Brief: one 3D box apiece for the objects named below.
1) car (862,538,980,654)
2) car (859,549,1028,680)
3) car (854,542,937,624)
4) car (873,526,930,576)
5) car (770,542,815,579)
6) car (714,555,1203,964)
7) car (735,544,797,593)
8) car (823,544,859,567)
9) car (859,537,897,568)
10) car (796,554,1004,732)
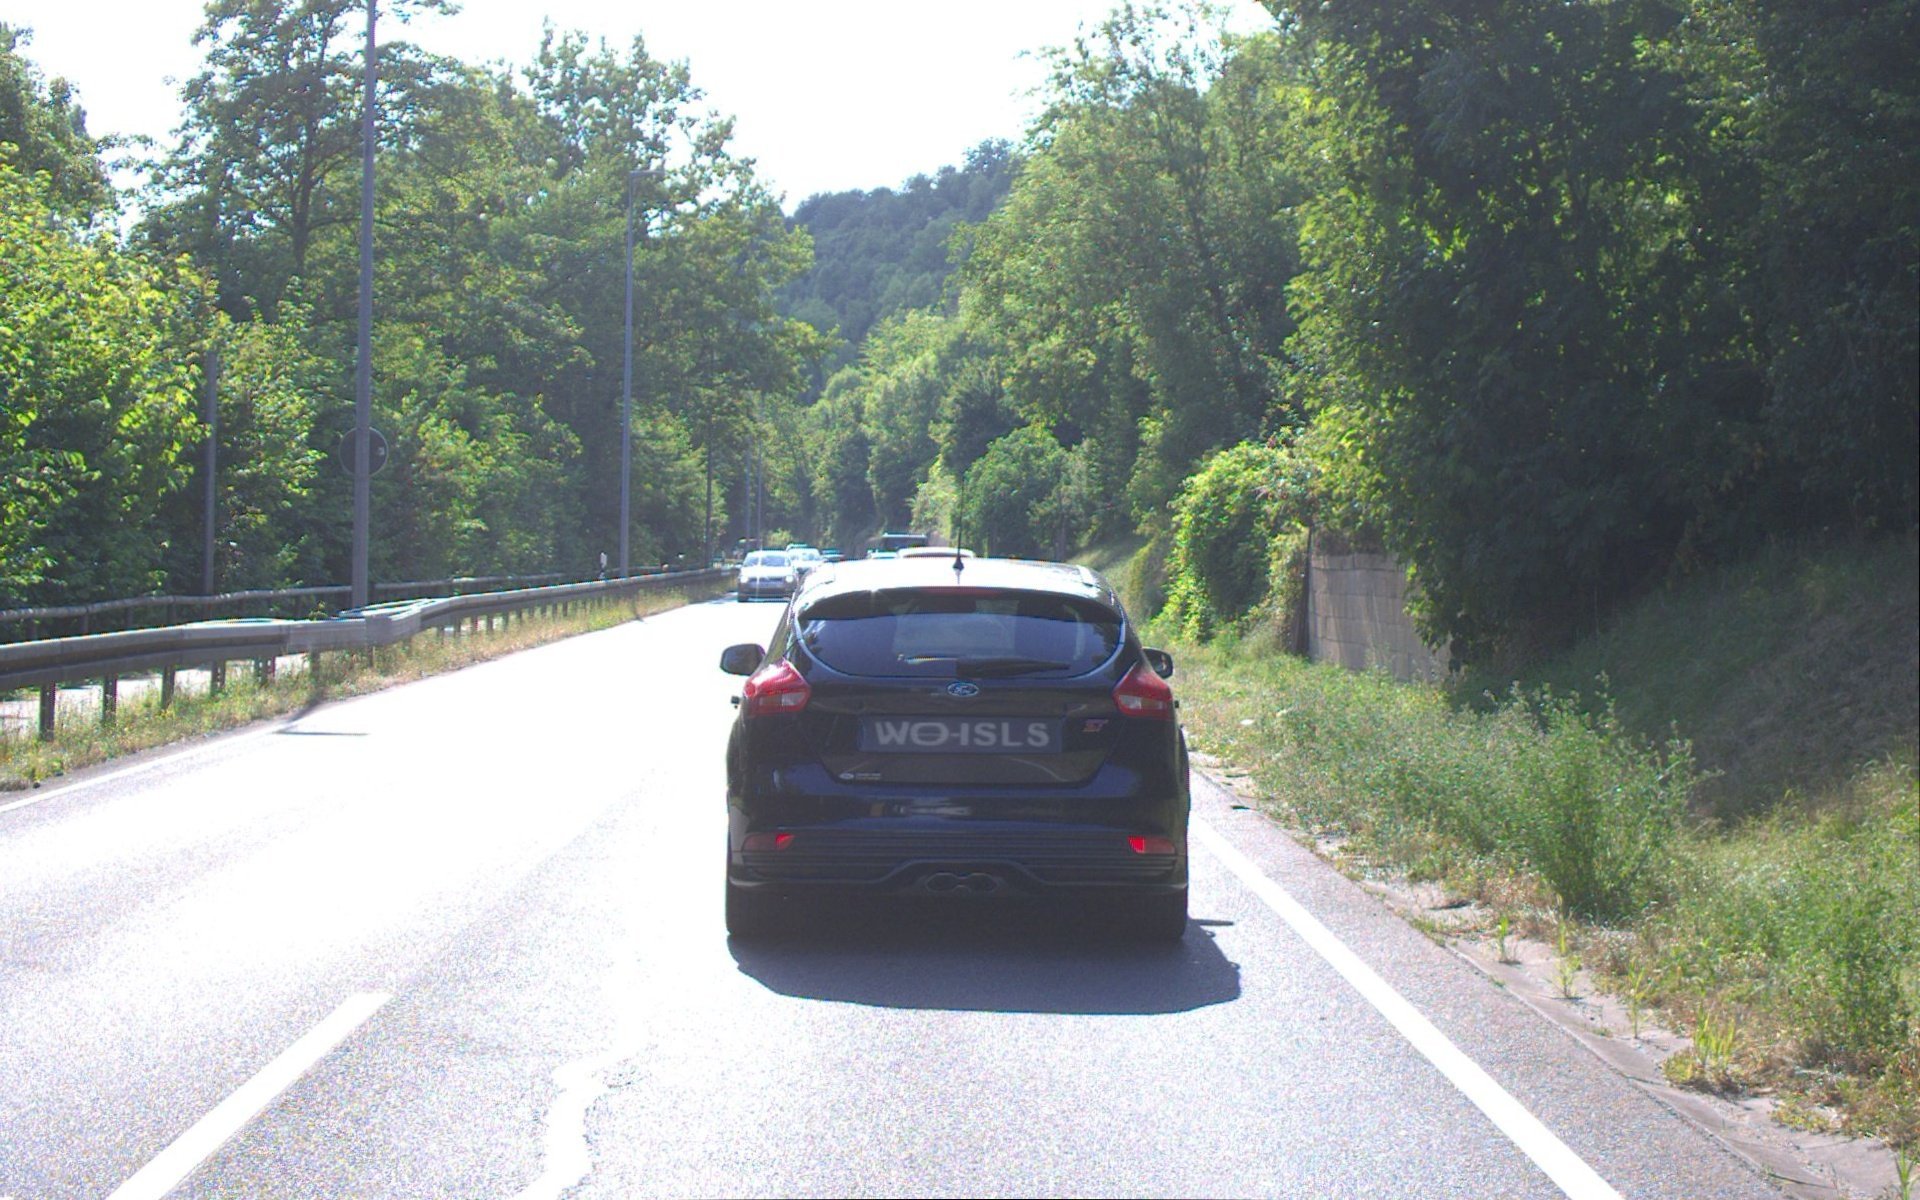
[{"bbox_3d":[-0.559,-0.090,49.396,1.631,1.590,4.000,0,1,-1],"label":"car"},{"bbox_3d":[-0.195,0.125,38.762,1.804,1.387,4.000,0,1,-1],"label":"car"},{"bbox_3d":[-1.300,-0.369,69.819,1.631,1.590,4.000,0,1,-1],"label":"car"},{"bbox_3d":[-2.103,-1.757,122.635,1.863,1.774,4.001,0,1,-3],"label":"car"},{"bbox_3d":[-6.695,-1.585,138.061,1.681,1.458,4.198,1,1,-1],"label":"car"},{"bbox_3d":[-0.024,0.547,14.323,1.739,1.451,4.000,1,1,-1],"label":"car"},{"bbox_3d":[-5.560,-0.922,98.860,1.623,1.372,4.048,0,1,-1],"label":"car"},{"bbox_3d":[-7.882,-2.945,226.973,1.993,1.514,4.001,0,1,-8],"label":"car"},{"bbox_3d":[-4.068,-2.365,171.606,1.819,1.514,4.000,0,1,-1],"label":"car"},{"bbox_3d":[-0.460,0.319,29.702,1.661,1.413,4.000,0,1,1],"label":"car"}]
